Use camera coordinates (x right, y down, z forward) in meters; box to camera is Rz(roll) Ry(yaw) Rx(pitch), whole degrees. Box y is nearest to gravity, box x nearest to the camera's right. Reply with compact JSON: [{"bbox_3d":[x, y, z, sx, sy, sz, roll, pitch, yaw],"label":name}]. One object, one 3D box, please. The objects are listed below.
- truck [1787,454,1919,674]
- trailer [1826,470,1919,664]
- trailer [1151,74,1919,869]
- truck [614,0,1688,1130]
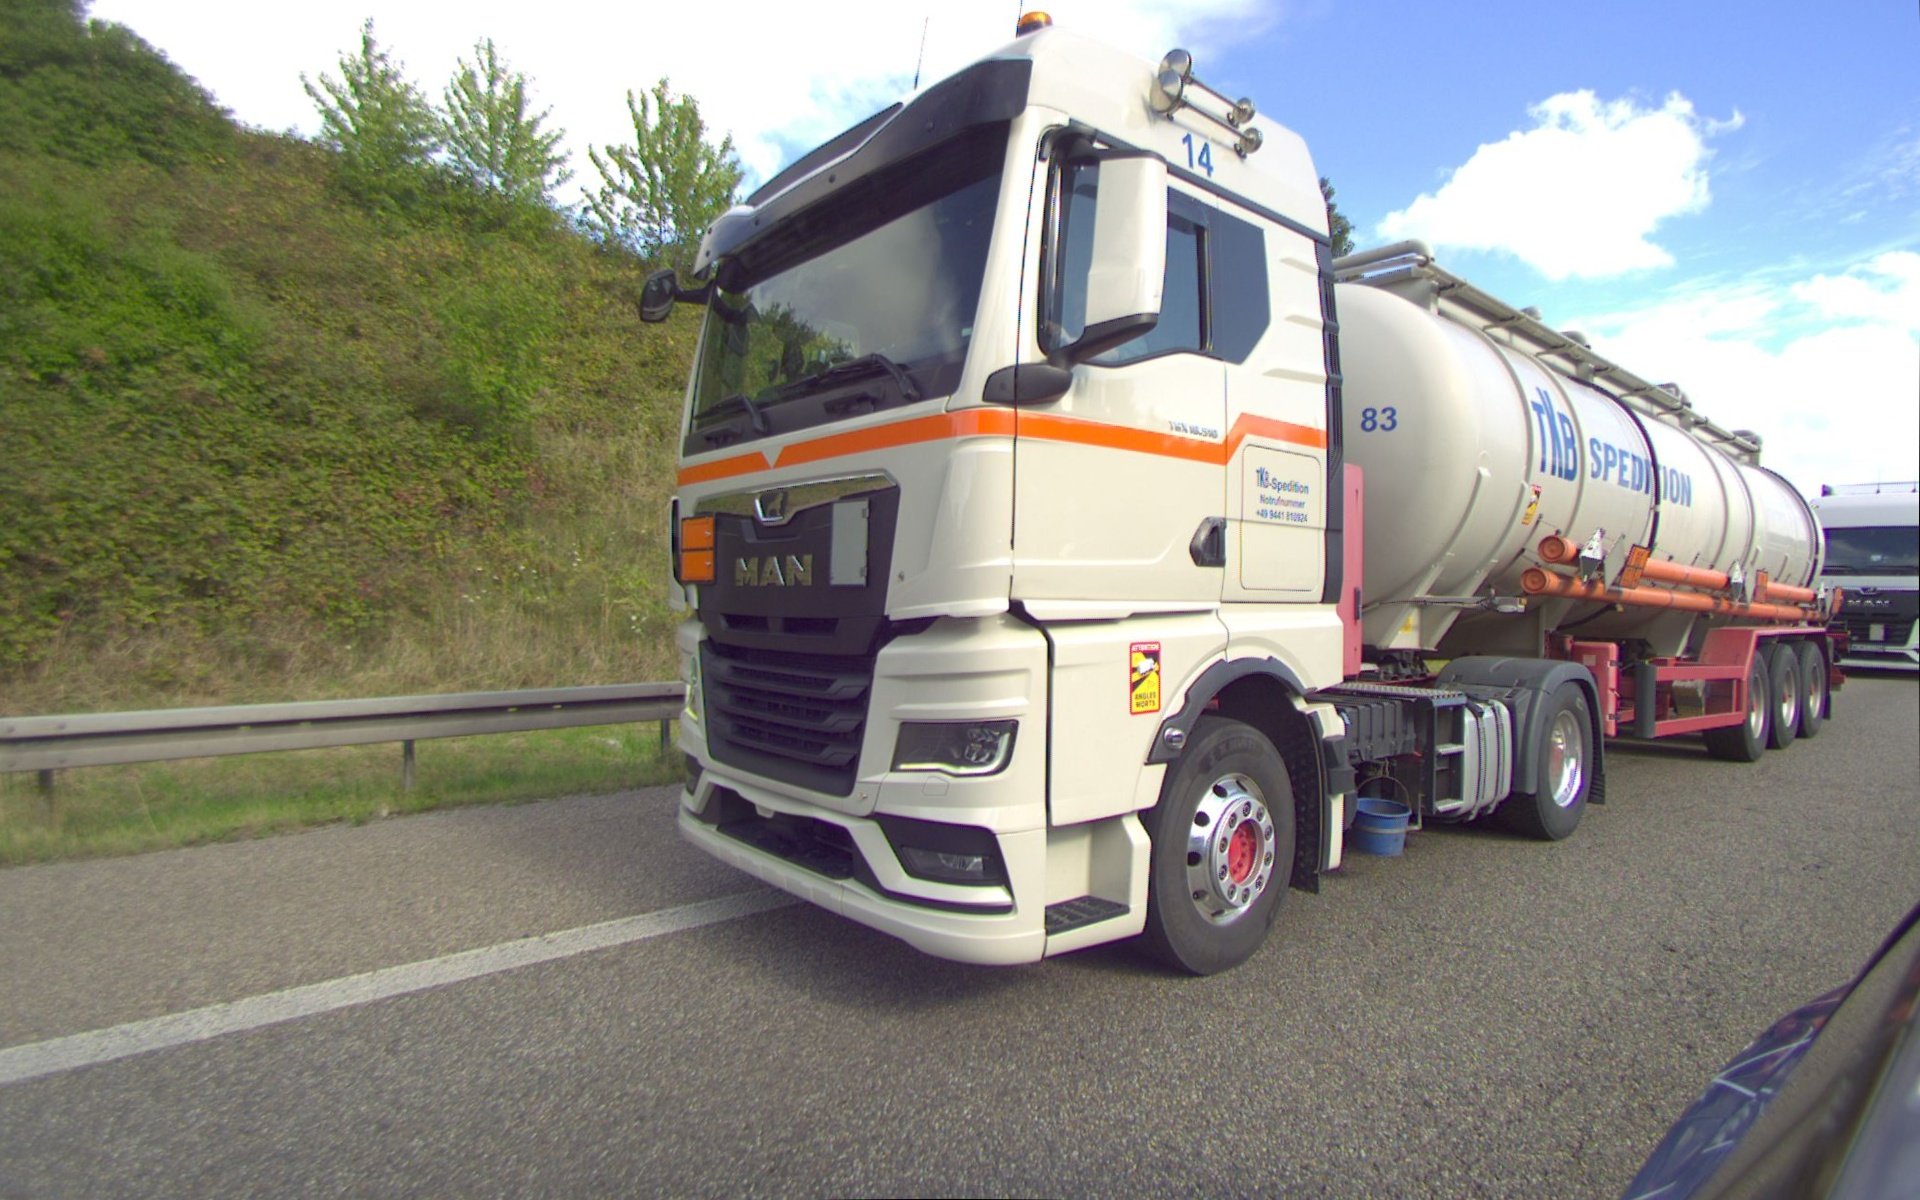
[{"bbox_3d":[19.793,-0.695,21.144,5.605,4.122,2.840,0,0,-39],"label":"truck"},{"bbox_3d":[25.394,-0.726,25.763,13.132,4.122,2.832,0,1,-39],"label":"trailer"},{"bbox_3d":[6.512,-0.702,9.773,10.981,4.077,2.804,0,1,-39],"label":"trailer"},{"bbox_3d":[1.454,-0.673,5.622,5.798,4.094,2.809,0,0,-39],"label":"truck"}]
